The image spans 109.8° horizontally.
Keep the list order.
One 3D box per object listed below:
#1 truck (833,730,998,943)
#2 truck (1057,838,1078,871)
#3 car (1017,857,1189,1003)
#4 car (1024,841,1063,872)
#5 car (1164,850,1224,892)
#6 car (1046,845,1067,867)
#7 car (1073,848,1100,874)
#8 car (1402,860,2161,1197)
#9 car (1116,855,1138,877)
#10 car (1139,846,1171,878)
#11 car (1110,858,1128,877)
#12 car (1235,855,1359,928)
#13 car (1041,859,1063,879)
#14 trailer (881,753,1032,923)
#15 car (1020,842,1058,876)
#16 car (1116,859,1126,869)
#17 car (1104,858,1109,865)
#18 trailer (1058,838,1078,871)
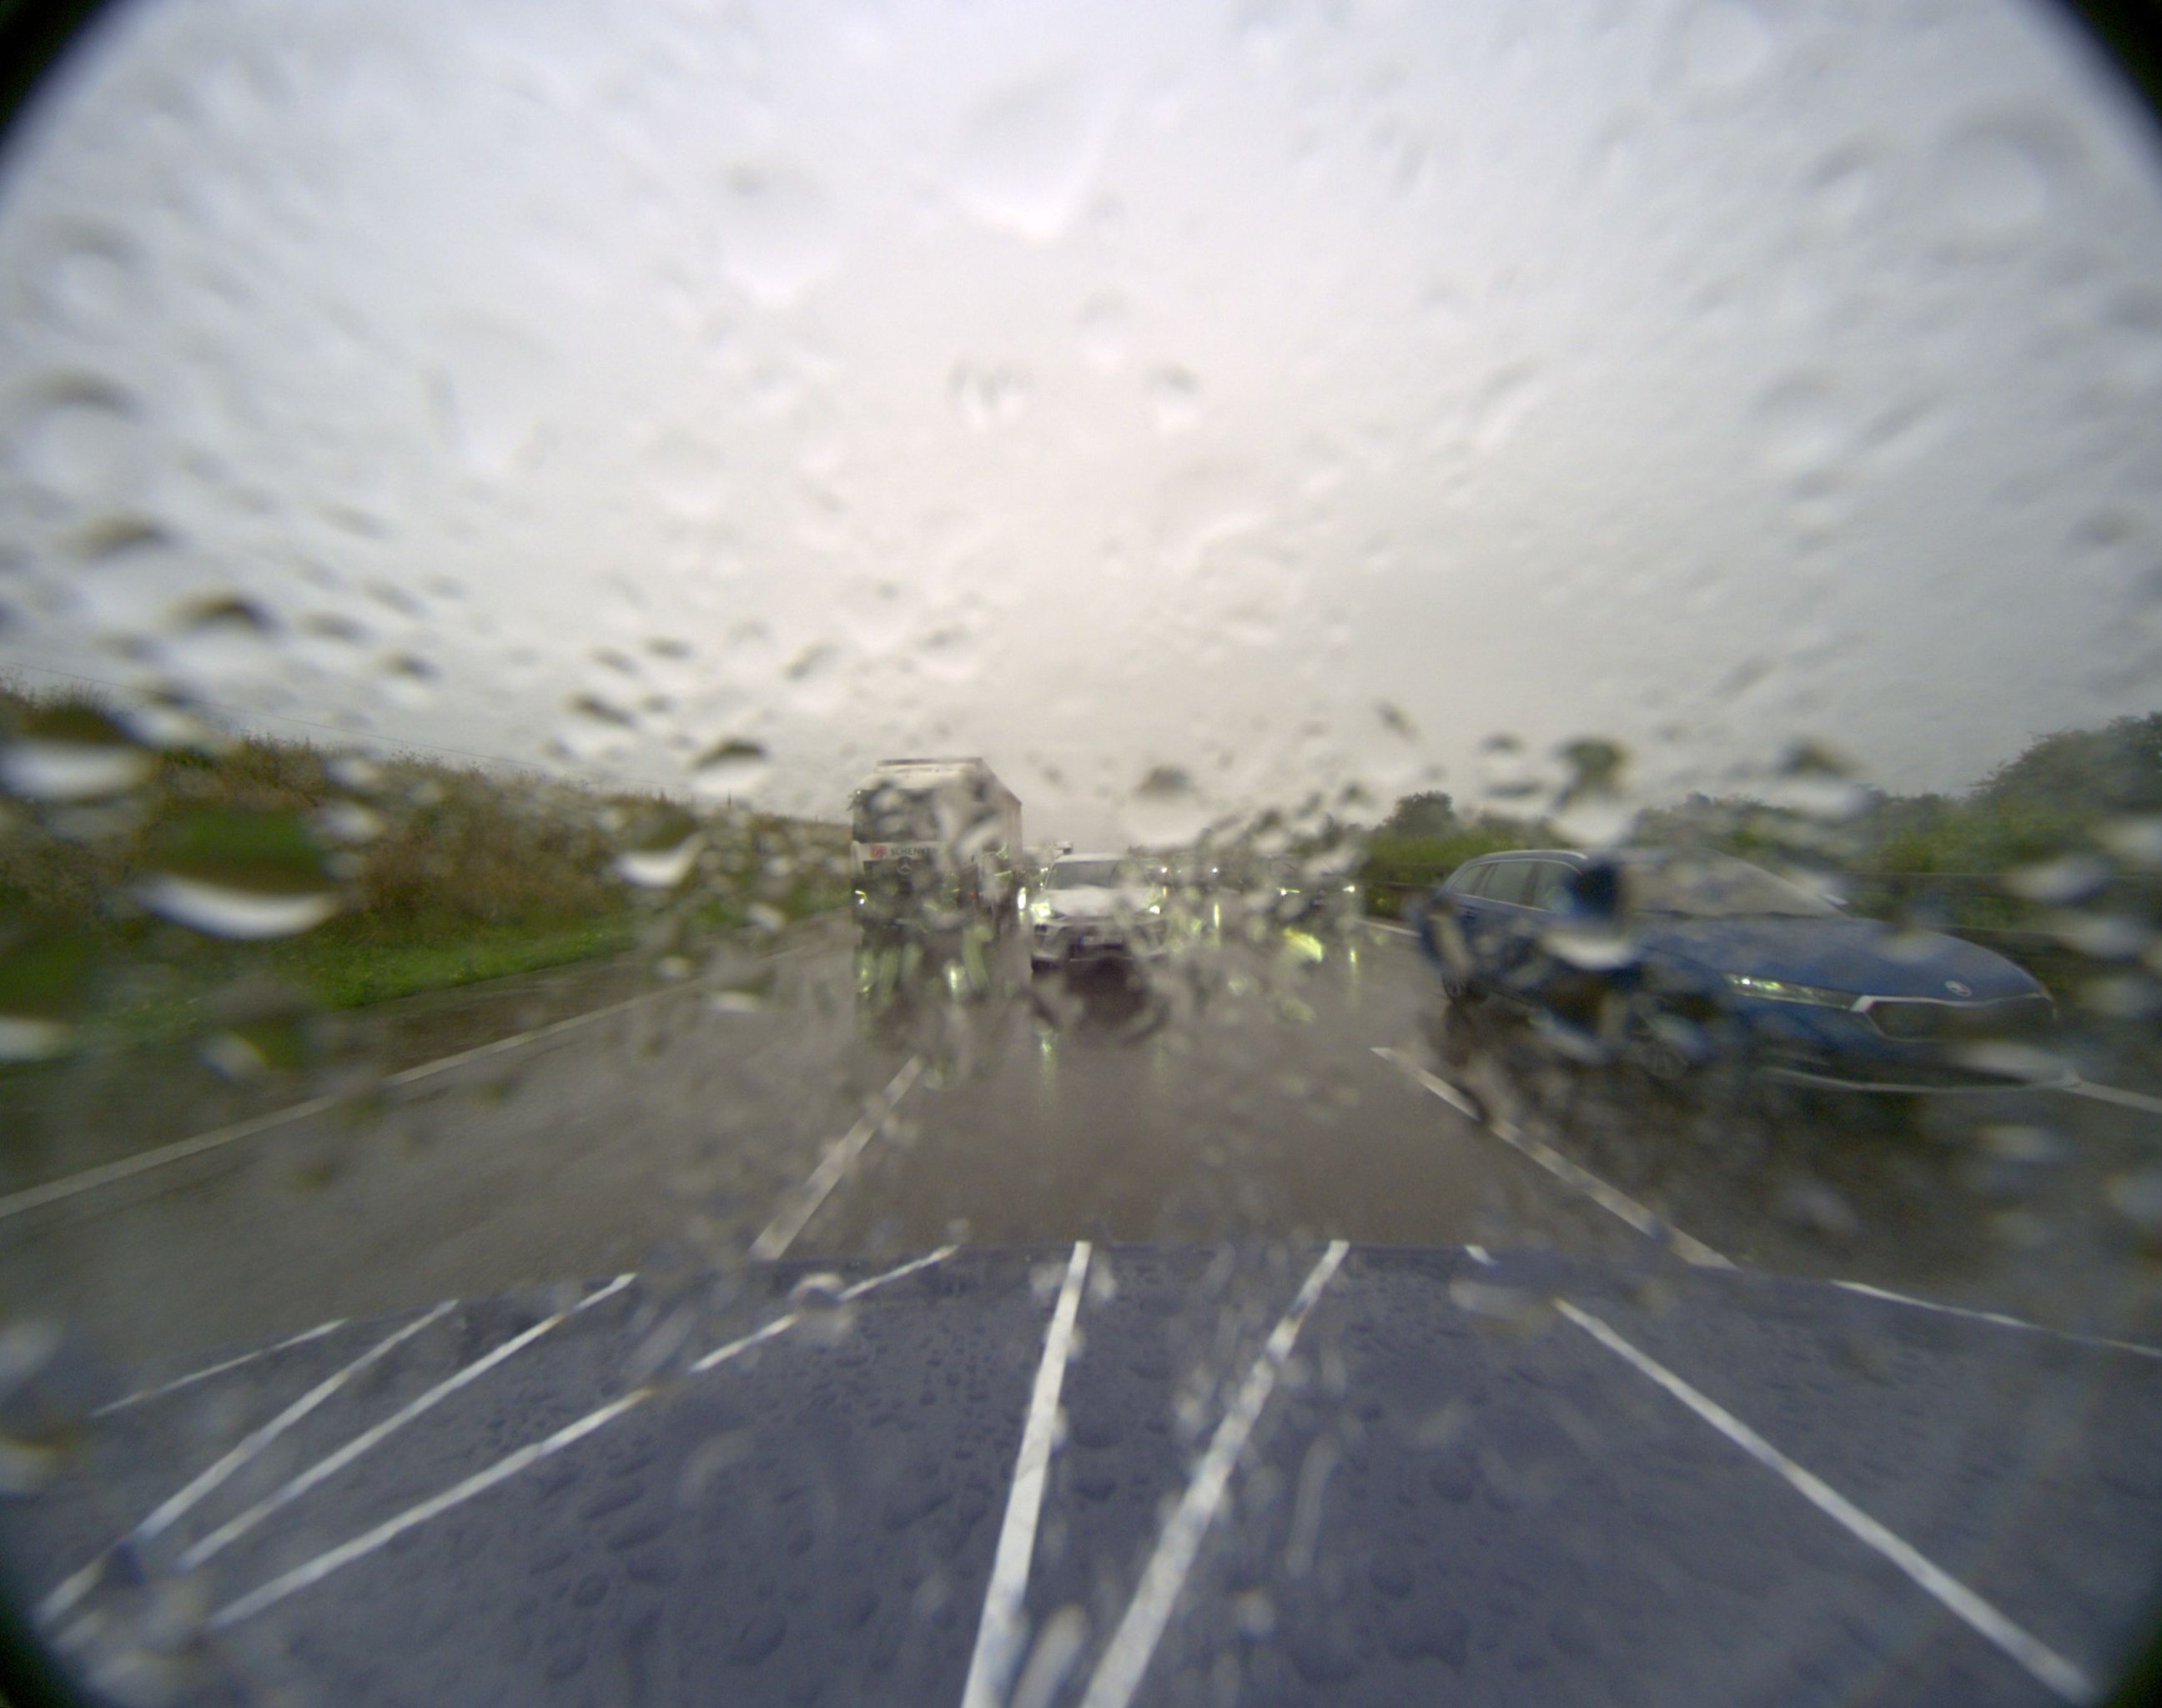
[{"bbox_3d":[-3.628,-0.377,17.918,2.633,4.229,5.042,-2,1,0],"label":"truck"},{"bbox_3d":[-1.926,0.045,109.963,2.628,4.635,4.290,-2,0,1],"label":"truck"},{"bbox_3d":[0.260,0.867,10.572,1.893,1.578,4.000,-2,0,0],"label":"car"},{"bbox_3d":[-2.623,0.137,54.304,2.260,2.002,4.269,-2,1,3],"label":"car"},{"bbox_3d":[4.756,0.666,32.495,1.889,1.622,4.269,-2,0,0],"label":"car"},{"bbox_3d":[-2.538,0.179,80.446,1.998,2.231,4.000,-2,0,0],"label":"car"},{"bbox_3d":[0.464,0.533,60.176,1.998,2.002,4.000,-2,0,1],"label":"car"},{"bbox_3d":[4.287,0.827,5.770,1.791,1.467,4.512,-2,0,0],"label":"car"},{"bbox_3d":[4.260,1.079,71.033,1.737,2.002,4.223,-2,0,0],"label":"car"},{"bbox_3d":[4.835,0.504,49.866,1.888,2.002,4.270,-2,0,3],"label":"car"},{"bbox_3d":[4.059,1.436,82.404,1.737,2.002,4.223,-2,0,0],"label":"car"},{"bbox_3d":[4.844,0.777,17.657,1.613,1.428,4.370,-2,0,0],"label":"car"},{"bbox_3d":[-2.813,1.468,74.851,1.998,1.805,4.000,-2,0,0],"label":"car"},{"bbox_3d":[-3.614,-0.481,26.338,2.633,4.224,14.174,-2,1,0],"label":"trailer"},{"bbox_3d":[-2.582,0.285,47.713,1.946,2.002,4.446,-2,1,2],"label":"car"},{"bbox_3d":[6.067,1.521,116.224,1.458,1.540,2.804,0,2,1],"label":"car"},{"bbox_3d":[6.442,1.865,193.151,1.279,1.567,2.848,-2,0,0],"label":"car"},{"bbox_3d":[-1.863,0.079,114.925,2.628,4.635,9.221,-2,0,1],"label":"trailer"}]
